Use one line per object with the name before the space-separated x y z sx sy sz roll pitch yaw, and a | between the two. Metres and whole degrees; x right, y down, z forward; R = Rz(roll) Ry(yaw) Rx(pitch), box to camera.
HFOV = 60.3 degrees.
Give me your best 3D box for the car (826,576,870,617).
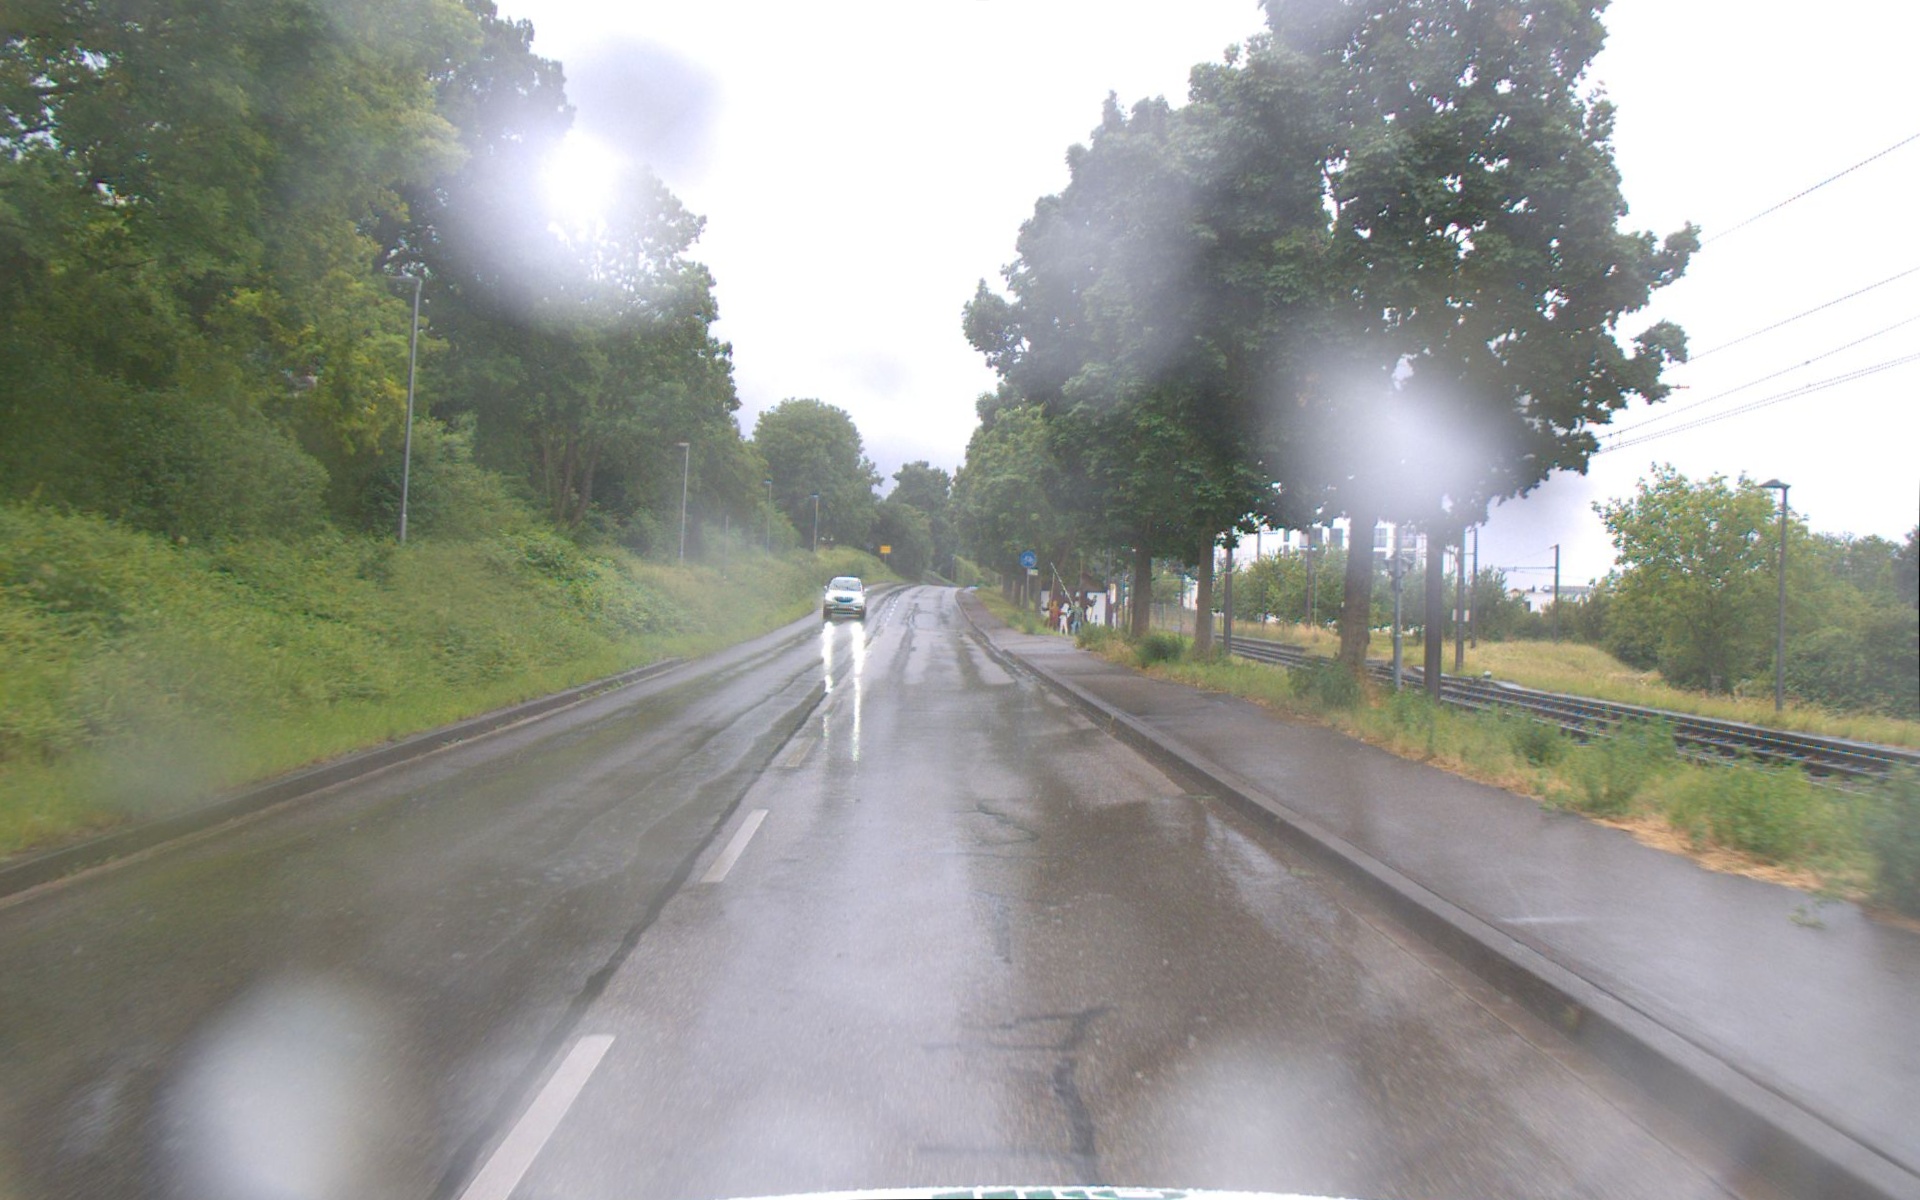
car | -4.753 -0.176 70.500 1.710 1.640 4.086 2 1 -3
